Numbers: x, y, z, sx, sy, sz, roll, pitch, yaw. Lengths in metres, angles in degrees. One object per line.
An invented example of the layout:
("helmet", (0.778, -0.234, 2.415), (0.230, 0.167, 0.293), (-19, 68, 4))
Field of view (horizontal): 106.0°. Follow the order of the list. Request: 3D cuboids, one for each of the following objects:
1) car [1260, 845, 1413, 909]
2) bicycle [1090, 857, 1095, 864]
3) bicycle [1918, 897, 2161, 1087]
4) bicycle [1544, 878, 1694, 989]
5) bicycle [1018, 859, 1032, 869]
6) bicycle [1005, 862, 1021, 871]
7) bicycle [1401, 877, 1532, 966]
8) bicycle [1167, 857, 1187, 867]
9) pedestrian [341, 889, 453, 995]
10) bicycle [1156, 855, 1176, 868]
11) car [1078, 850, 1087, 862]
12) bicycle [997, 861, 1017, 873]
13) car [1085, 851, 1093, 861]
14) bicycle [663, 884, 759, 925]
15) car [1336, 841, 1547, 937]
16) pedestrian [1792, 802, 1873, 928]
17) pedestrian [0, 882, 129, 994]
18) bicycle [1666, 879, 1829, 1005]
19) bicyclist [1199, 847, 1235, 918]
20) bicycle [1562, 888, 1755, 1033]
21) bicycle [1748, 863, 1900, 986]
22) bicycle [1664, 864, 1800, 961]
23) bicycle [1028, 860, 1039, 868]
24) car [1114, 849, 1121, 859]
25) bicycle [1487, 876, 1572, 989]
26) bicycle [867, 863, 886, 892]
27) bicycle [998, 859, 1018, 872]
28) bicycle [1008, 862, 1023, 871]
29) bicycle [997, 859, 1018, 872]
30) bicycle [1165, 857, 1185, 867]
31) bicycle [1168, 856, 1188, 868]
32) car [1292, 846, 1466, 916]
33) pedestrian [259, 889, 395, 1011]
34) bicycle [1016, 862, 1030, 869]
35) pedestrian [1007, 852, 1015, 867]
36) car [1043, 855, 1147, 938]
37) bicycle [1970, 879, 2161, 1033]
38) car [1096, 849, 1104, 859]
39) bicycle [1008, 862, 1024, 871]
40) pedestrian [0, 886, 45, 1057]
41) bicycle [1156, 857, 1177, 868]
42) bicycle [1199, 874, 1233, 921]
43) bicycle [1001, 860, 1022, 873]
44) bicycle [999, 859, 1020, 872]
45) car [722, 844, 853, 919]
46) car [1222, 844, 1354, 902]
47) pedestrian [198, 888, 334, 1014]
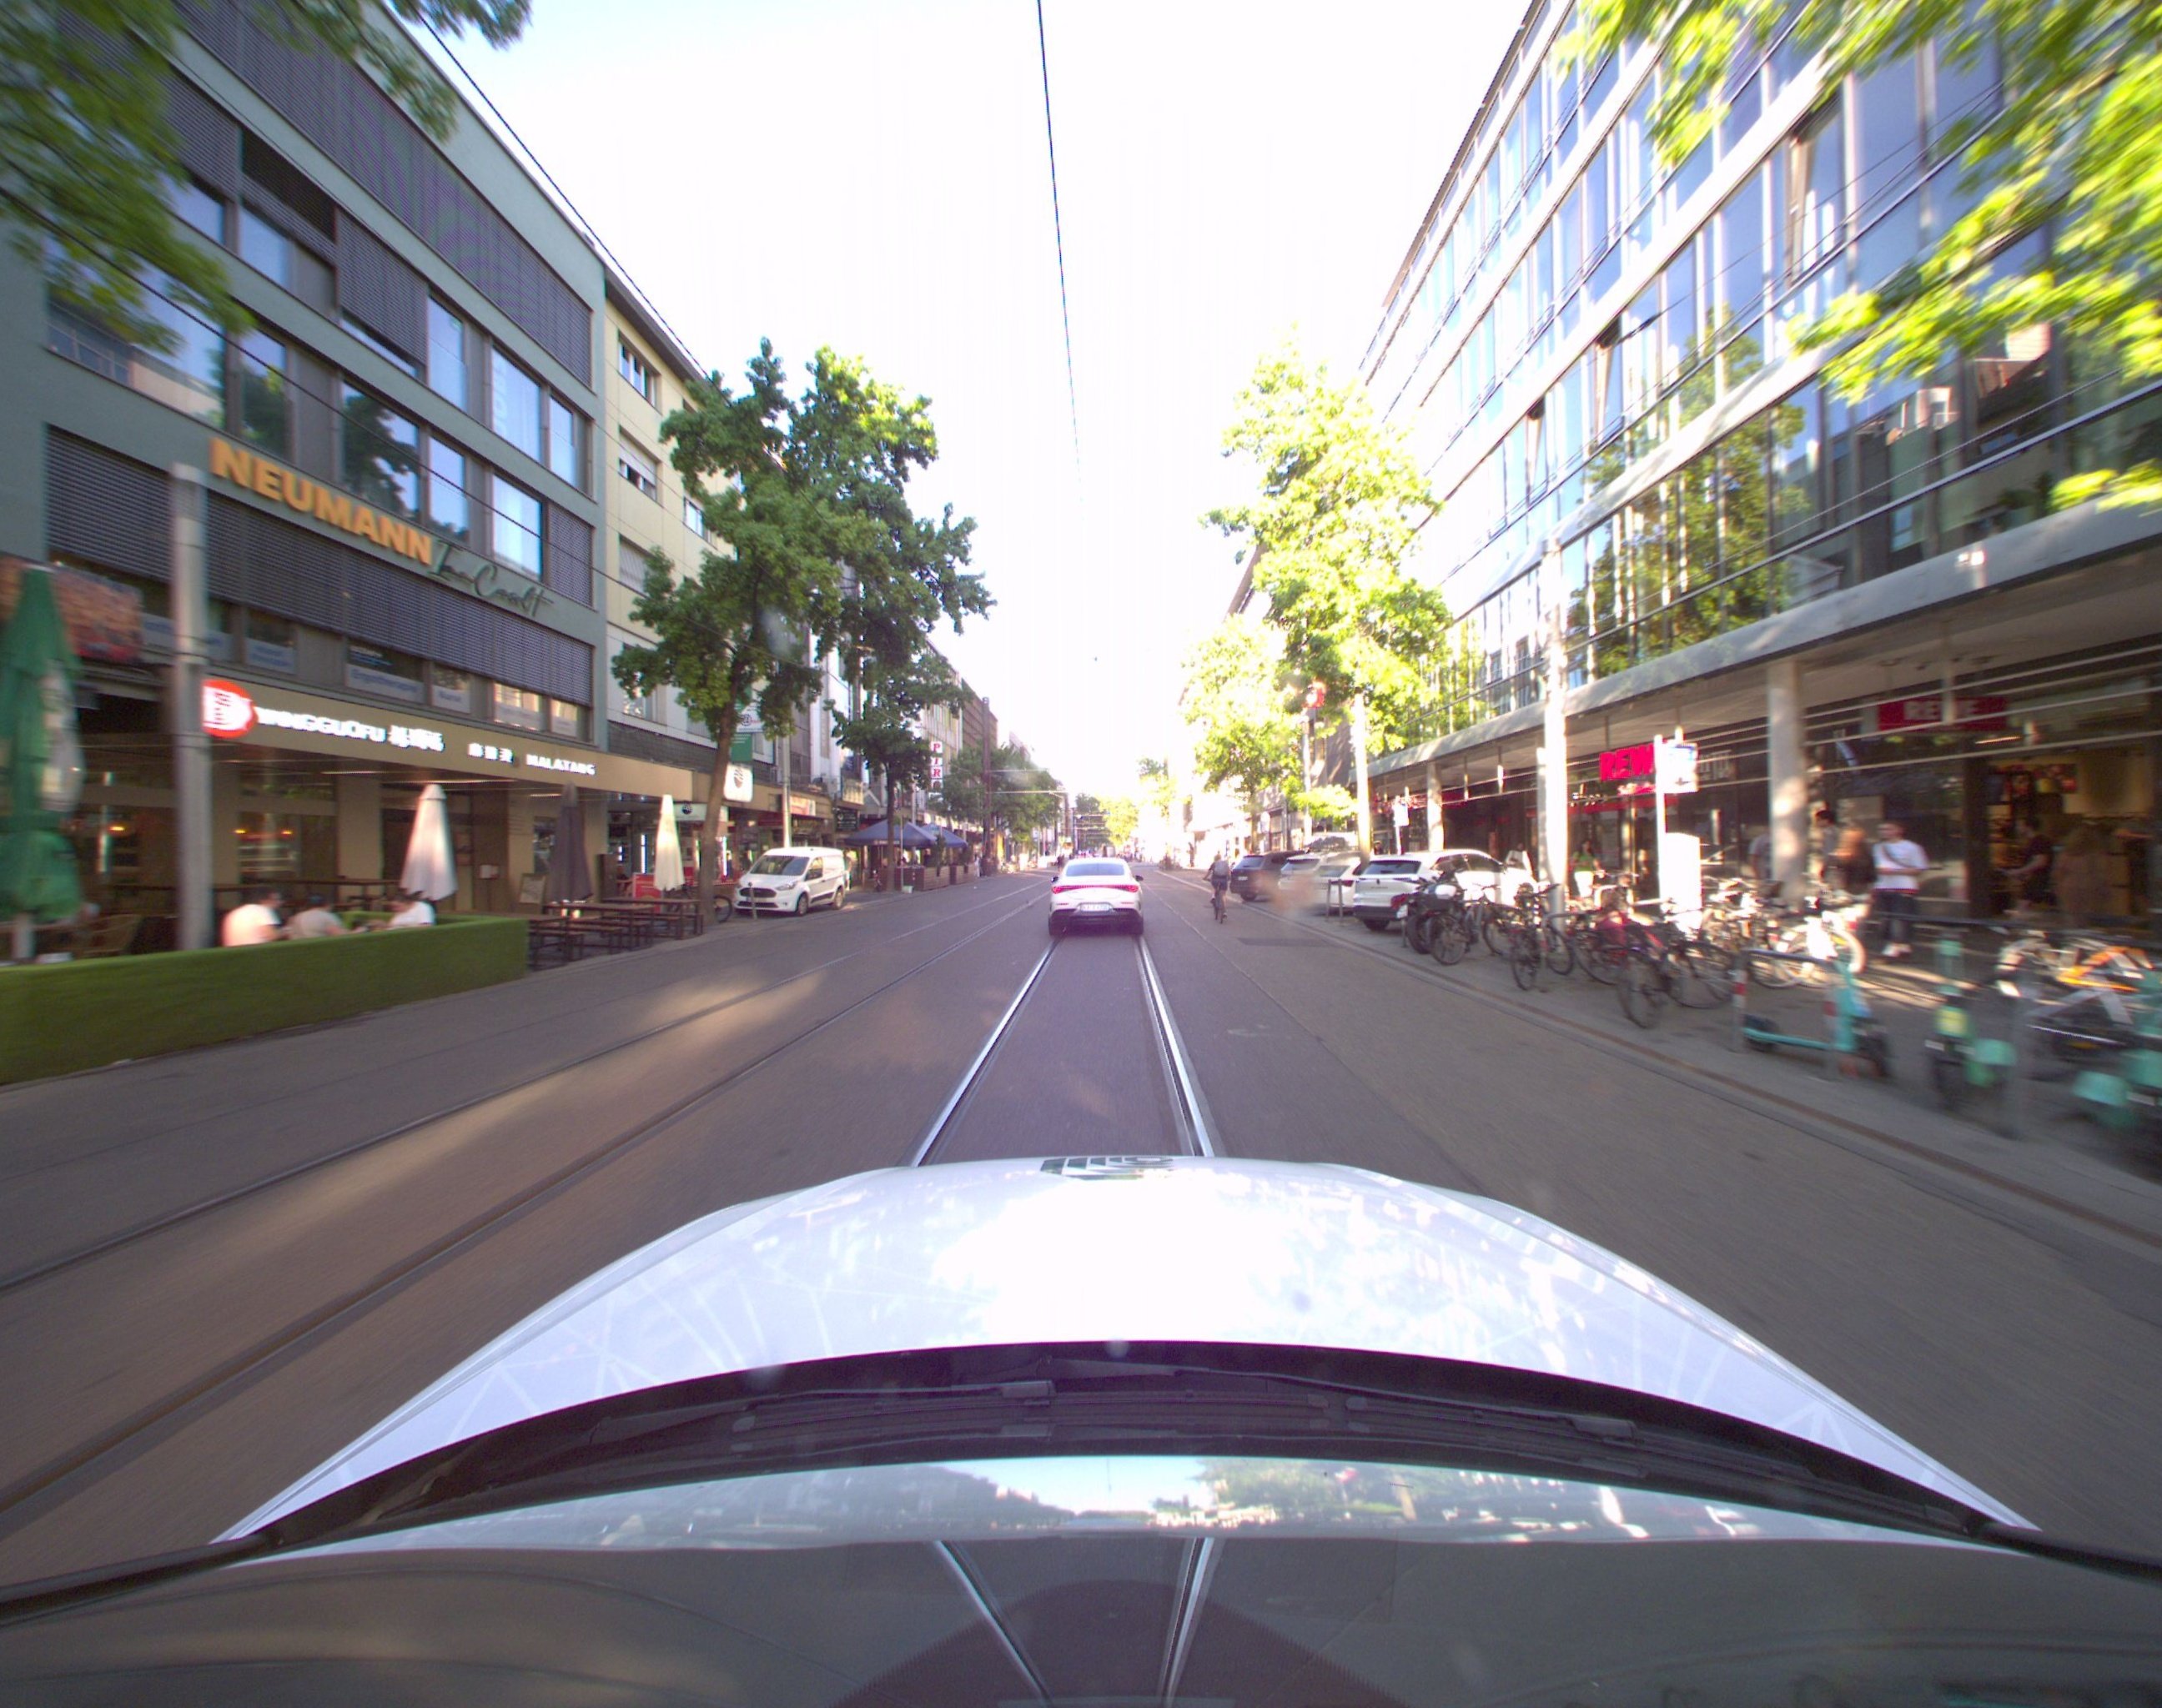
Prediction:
("car", (7.593, 0.640, 24.146), (4.262, 1.587, 1.866), (-3, 0, -29))
("bicycle", (1.873, 1.044, 131.977), (0.797, 1.142, 2.257), (1, 0, 1))
("bicycle", (6.748, 0.861, 5.206), (0.554, 1.107, 1.830), (-3, 0, -33))
("bicycle", (6.404, 0.908, 9.686), (1.697, 1.106, 0.627), (-4, -1, -25))
("bicycle", (-6.124, 1.084, 89.135), (1.492, 1.029, 0.343), (0, 0, -8))
("bicycle", (-6.492, 1.167, 77.681), (1.486, 0.841, 0.345), (0, 0, 3))
("bicycle", (5.659, 0.954, 11.940), (1.901, 1.119, 0.661), (-3, -1, -27))
("bicycle", (10.531, 0.872, 89.322), (2.114, 1.096, 0.607), (-1, -1, -11))
("pedestrian", (-8.417, 1.058, 10.056), (0.654, 1.193, 0.798), (2, 0, 1))
("bicycle", (9.092, 0.820, 87.042), (1.908, 1.281, 0.608), (-3, 0, -10))
("car", (0.389, 0.509, 198.351), (1.985, 2.897, 5.278), (-1, 0, 3))
("bicycle", (-6.058, 1.065, 66.902), (1.586, 0.930, 0.378), (0, 0, 8))
("car", (2.240, 0.501, 217.140), (1.902, 2.461, 5.278), (-1, 0, 3))
("bicycle", (-8.771, 1.181, 19.362), (0.826, 0.865, 1.872), (1, 0, 40))
("car", (7.412, 0.637, 16.647), (4.174, 1.571, 1.836), (-3, 0, -31))
("pedestrian", (11.975, 0.171, 12.995), (0.580, 1.919, 0.664), (-3, -1, 4))
("pedestrian", (-12.312, 0.956, 9.651), (0.750, 1.188, 1.065), (2, 0, 1))
("bicycle", (7.025, 0.872, 8.573), (1.679, 1.074, 0.726), (-4, 1, -28))
("bicyclist", (3.199, 0.642, 19.146), (0.772, 1.613, 0.915), (1, 0, 11))
("bicycle", (5.492, 0.950, 7.743), (1.567, 1.088, 0.861), (-4, 1, -28))
("bicycle", (8.270, 0.737, 9.068), (1.273, 1.173, 0.860), (-4, 1, -29))
("bicycle", (8.782, 0.759, 10.983), (1.781, 1.106, 0.627), (-4, -1, -24))
("bicycle", (-6.423, 1.301, 110.355), (0.713, 1.010, 2.048), (-1, 0, 16))
("car", (11.072, 0.051, 249.295), (2.091, 2.897, 5.288), (-1, 0, 3))
("bicycle", (5.531, 0.919, 9.993), (0.475, 1.163, 1.705), (-5, -1, 41))
("bicycle", (-8.570, 0.980, 34.157), (0.699, 1.121, 2.076), (2, 0, -15))
("bicycle", (-6.626, 1.075, 74.007), (1.838, 1.141, 0.377), (0, 0, 3))
("bicycle", (-6.303, 1.217, 78.412), (1.486, 0.783, 0.345), (0, 0, 3))
("bicycle", (-6.279, 1.009, 69.774), (1.784, 1.077, 0.377), (0, 0, -3))
("bicycle", (10.546, 0.888, 91.522), (2.113, 1.096, 0.608), (-1, -1, -10))
("bicycle", (10.263, 0.830, 86.201), (1.908, 1.156, 0.608), (-3, 0, -10))
("car", (7.775, 0.655, 21.246), (4.163, 1.499, 1.676), (-3, 0, -22))
("pedestrian", (-8.477, 1.051, 9.193), (0.654, 1.244, 0.873), (2, 0, 1))
("bicycle", (-6.229, 1.219, 87.369), (1.486, 0.783, 0.345), (0, 0, 3))
("pedestrian", (-8.162, 0.645, 95.161), (0.789, 1.766, 0.533), (-1, 0, -23))
("car", (0.333, 0.765, 16.777), (1.850, 1.455, 4.177), (-1, 0, 2))
("bicycle", (8.420, 0.778, 6.374), (0.629, 1.130, 1.868), (-3, 0, -34))
("car", (5.883, 0.108, 249.117), (2.091, 2.897, 5.278), (-1, 0, 3))
("bicycle", (-6.274, 1.223, 79.077), (1.486, 0.783, 0.345), (0, 0, 3))
("pedestrian", (-9.002, 0.939, 6.314), (0.751, 1.343, 0.873), (2, 0, 1))
("bicycle", (9.450, 0.933, 90.019), (2.113, 1.096, 0.608), (-1, -1, -10))
("bicycle", (3.245, 1.009, 19.407), (0.714, 0.995, 2.065), (1, 0, 11))
("bicycle", (-6.112, 1.081, 71.441), (1.841, 1.077, 0.377), (0, 0, -3))
("bicycle", (-6.196, 0.974, 70.241), (1.784, 1.077, 0.377), (0, 0, -3))
("car", (-8.137, 0.690, 23.068), (1.788, 1.864, 4.557), (2, 0, 3))
("car", (7.138, 0.620, 27.978), (4.369, 1.652, 1.678), (-3, 0, -29))
("pedestrian", (-9.152, 1.063, 9.178), (0.654, 1.293, 0.798), (2, 0, 1))
